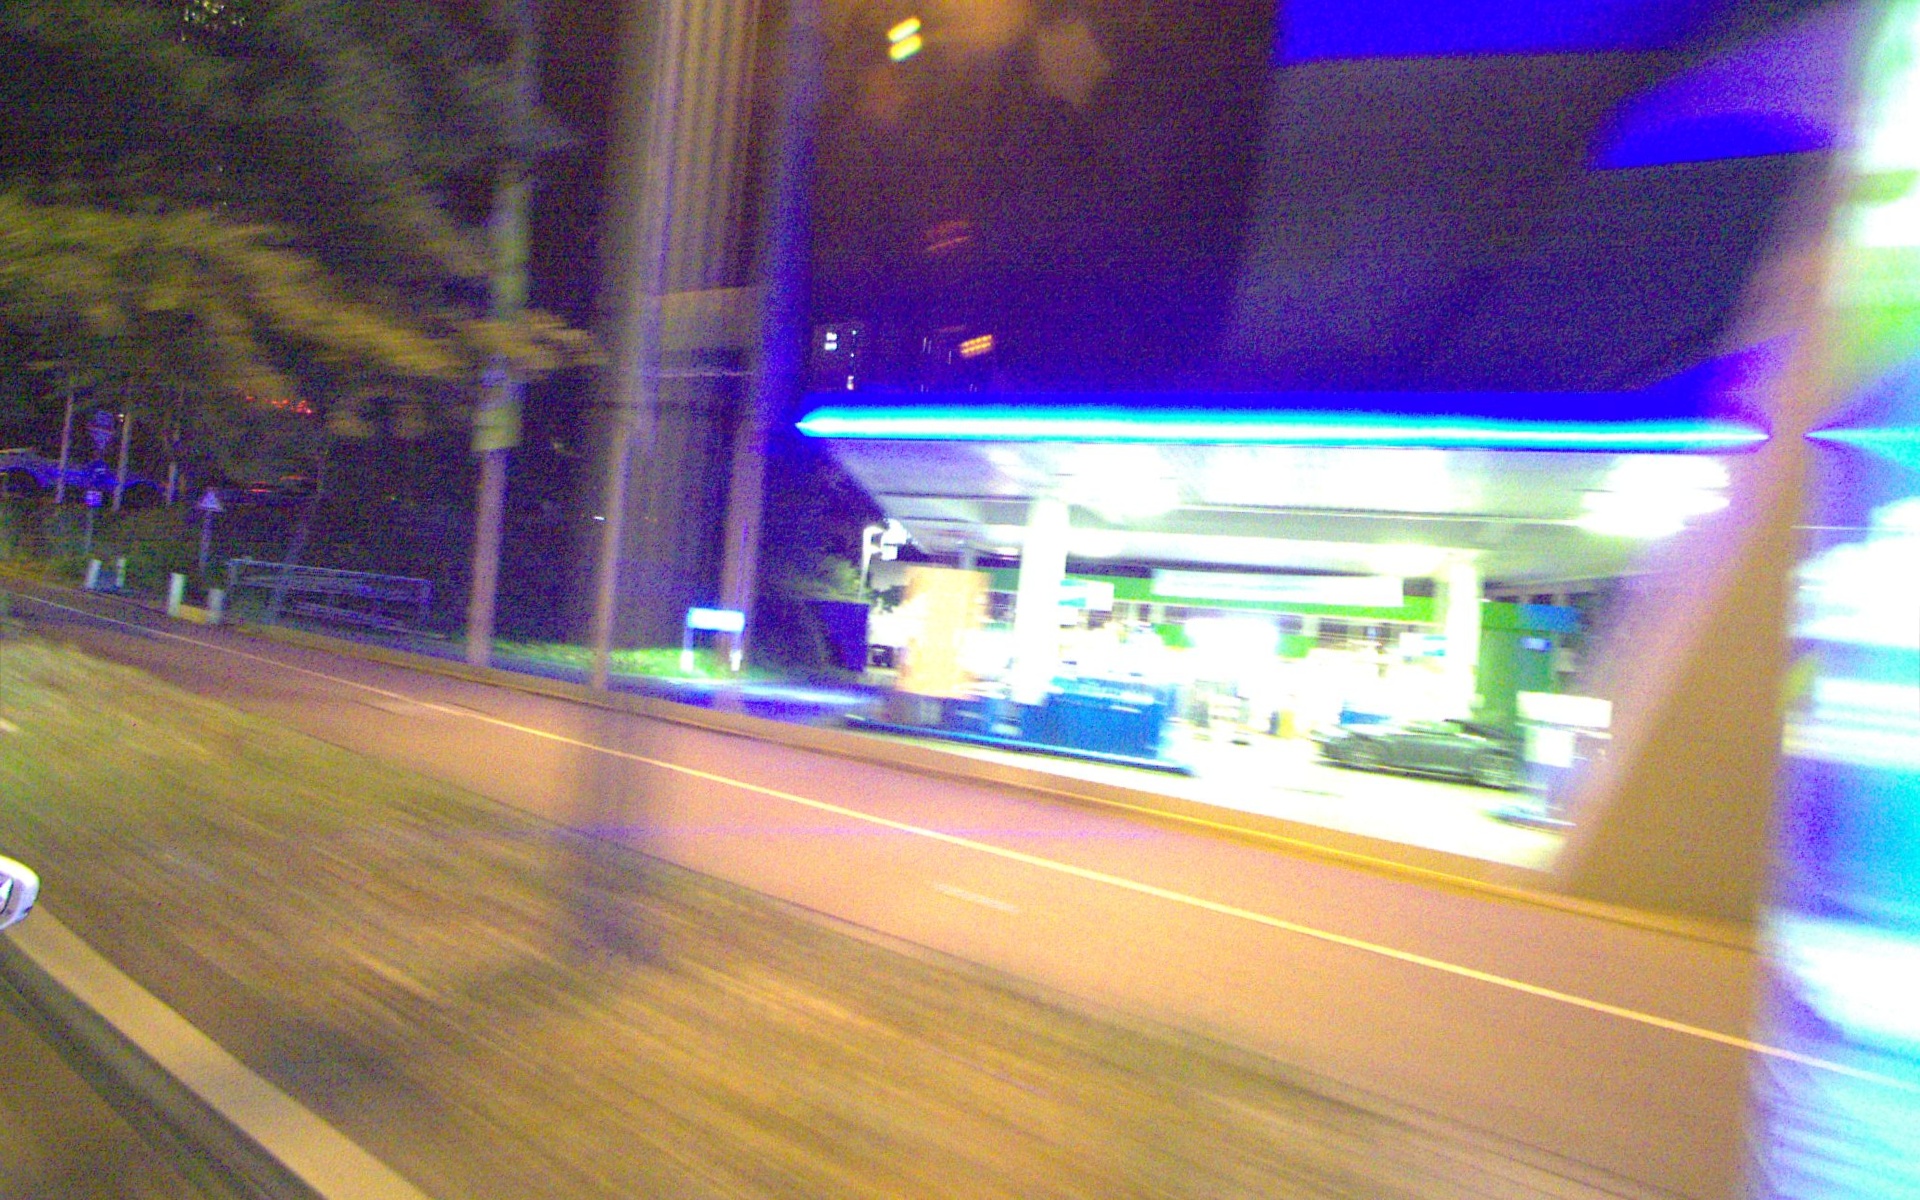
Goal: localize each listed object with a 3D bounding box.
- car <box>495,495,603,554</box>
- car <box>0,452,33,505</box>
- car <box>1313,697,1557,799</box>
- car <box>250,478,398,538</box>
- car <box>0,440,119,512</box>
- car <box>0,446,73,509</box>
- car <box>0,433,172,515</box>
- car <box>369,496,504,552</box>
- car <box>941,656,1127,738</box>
[{"bbox_3d":[-16.637,-3.024,40.907,1.721,1.919,3.817,6,0,24],"label":"car"},{"bbox_3d":[-30.410,-3.861,29.937,1.711,1.507,3.732,5,0,26],"label":"car"},{"bbox_3d":[9.659,2.965,20.755,4.256,1.379,1.933,6,-2,24],"label":"car"},{"bbox_3d":[-23.837,-3.413,37.849,1.721,1.748,4.362,5,2,30],"label":"car"},{"bbox_3d":[-26.195,-3.513,27.905,1.709,1.591,3.992,5,0,29],"label":"car"},{"bbox_3d":[-28.234,-3.651,28.876,1.749,1.608,3.752,5,1,26],"label":"car"},{"bbox_3d":[-23.965,-3.347,26.921,1.791,1.541,4.126,5,-1,29],"label":"car"},{"bbox_3d":[-17.386,-2.498,33.558,1.610,1.490,3.641,5,2,31],"label":"car"},{"bbox_3d":[1.757,2.280,23.963,3.994,1.374,1.659,6,-2,22],"label":"car"}]
